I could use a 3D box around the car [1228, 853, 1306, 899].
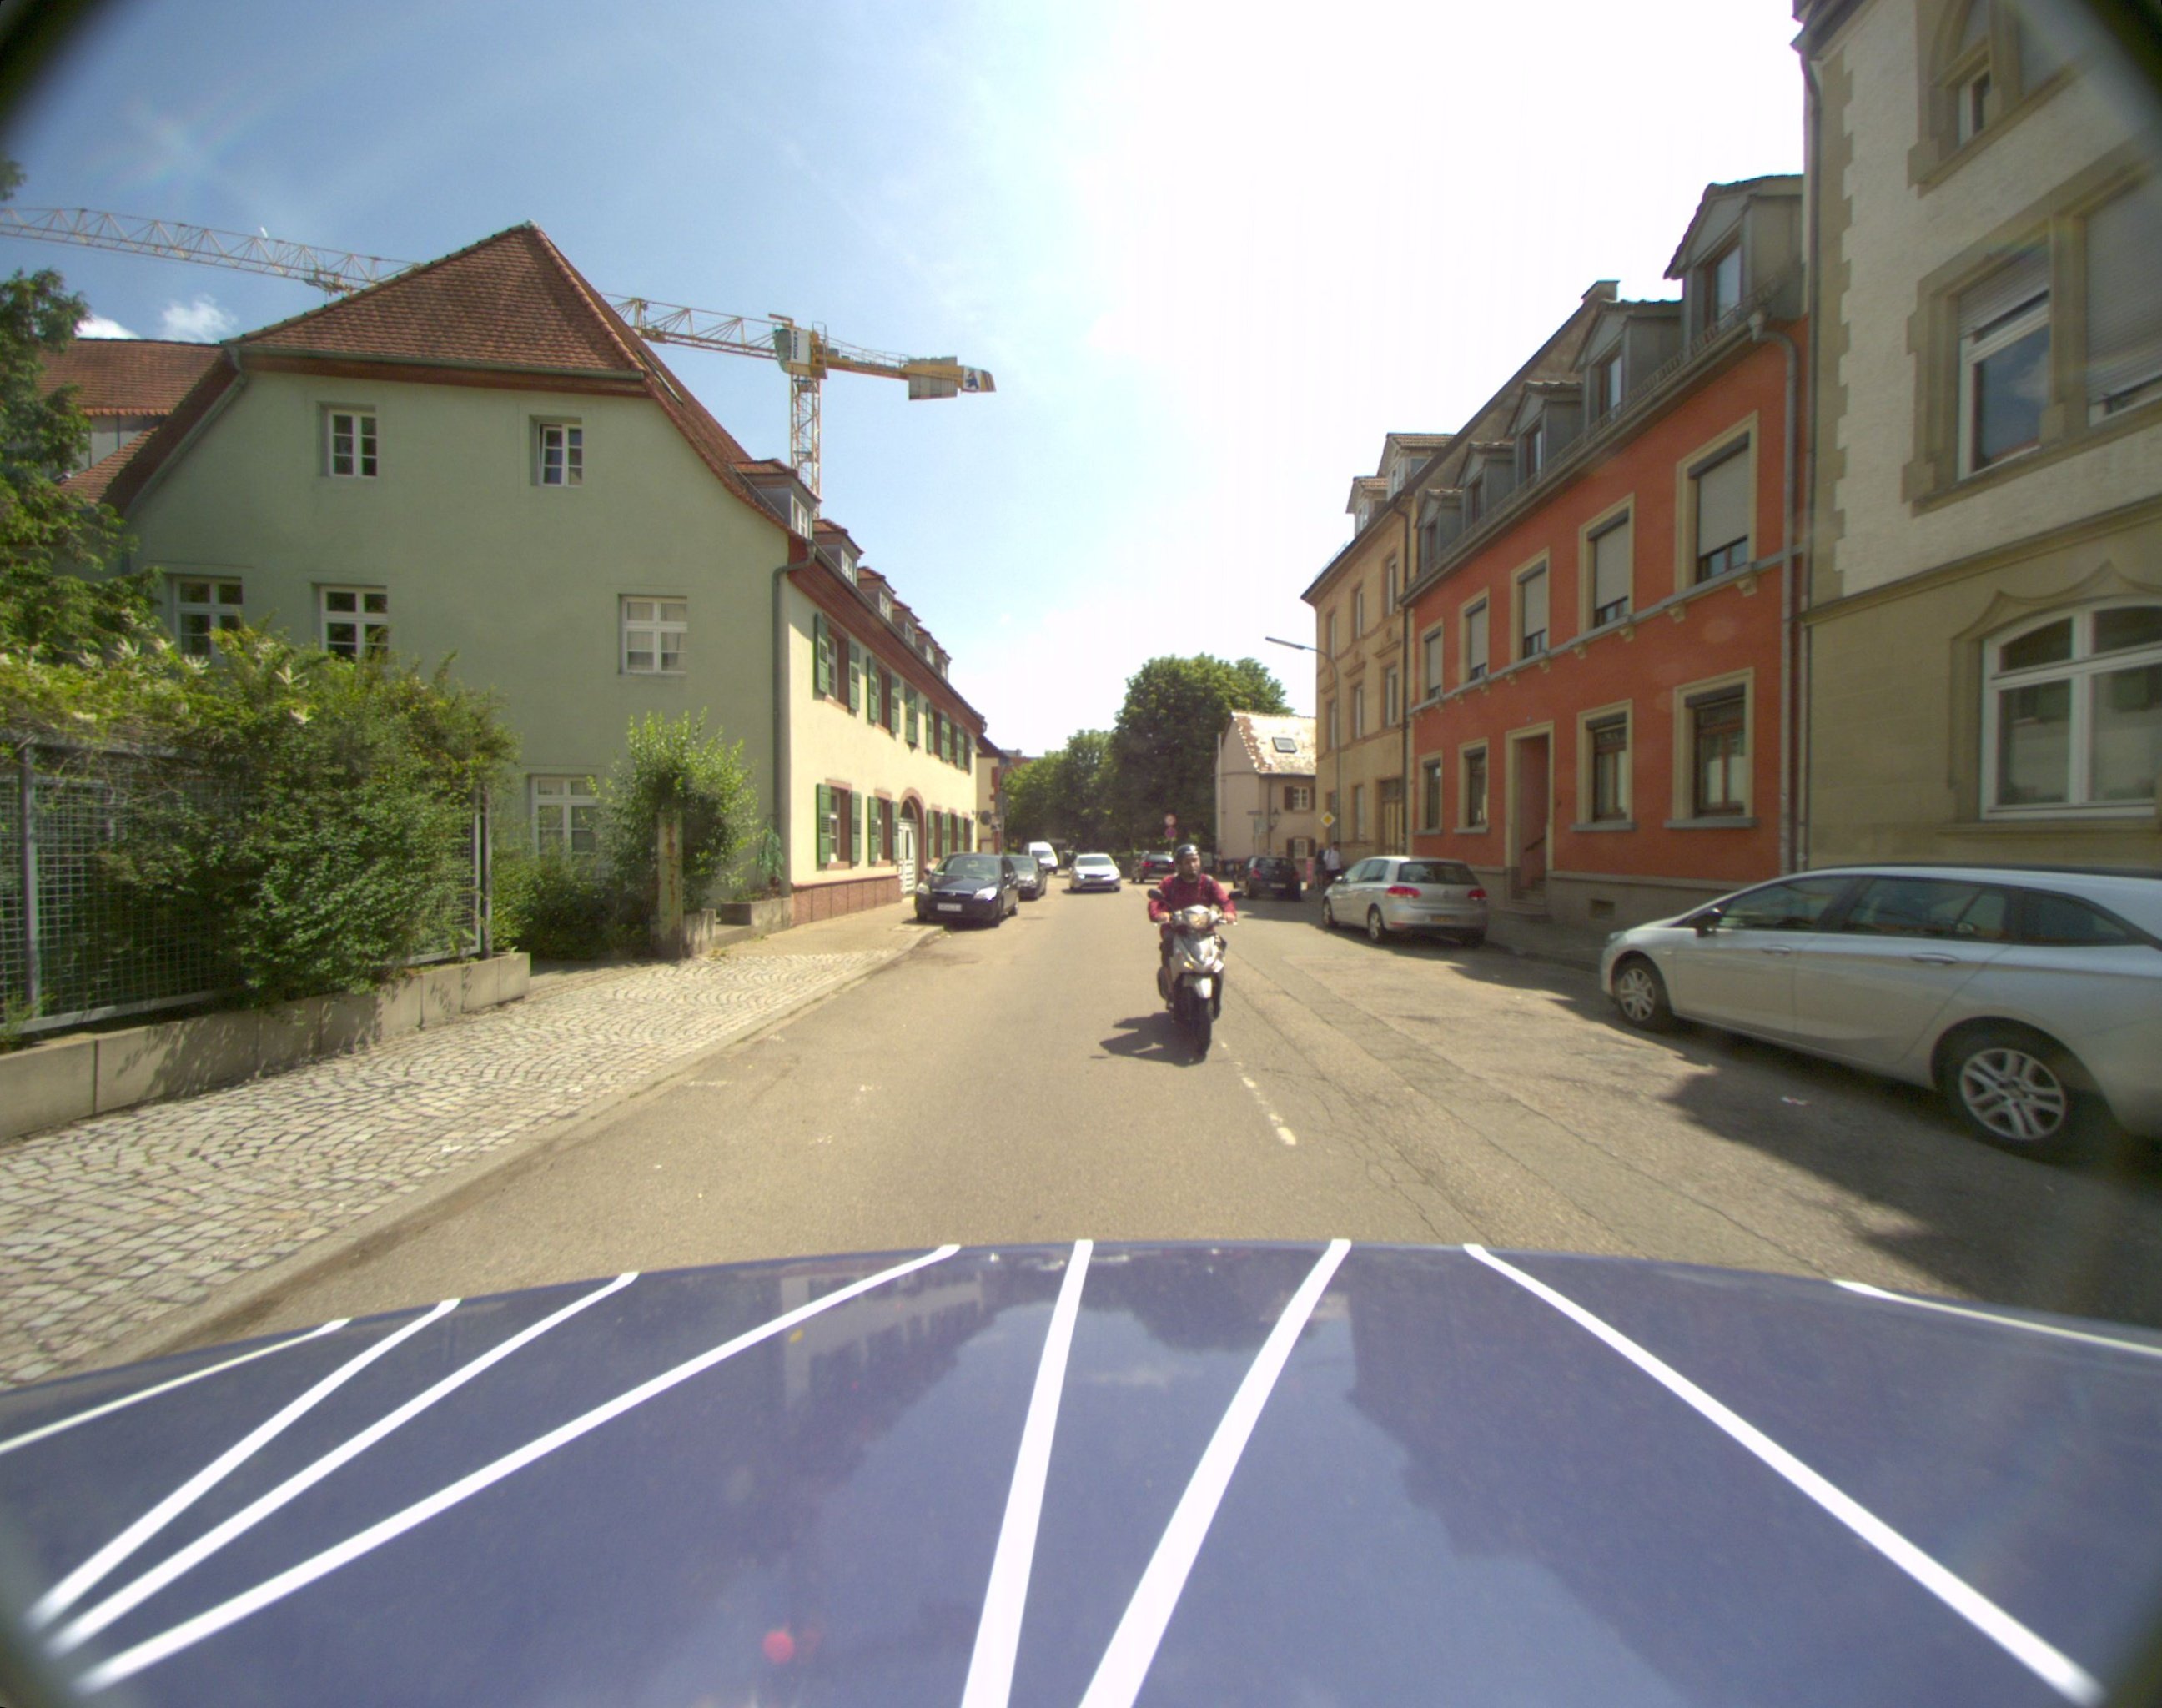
[{"bbox_3d":[6.231,0.698,25.916,1.732,1.434,3.856,0,1,0],"label":"car"}]

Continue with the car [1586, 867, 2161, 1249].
[{"bbox_3d":[5.510,0.894,4.713,1.882,1.502,4.381,0,1,1],"label":"car"}]

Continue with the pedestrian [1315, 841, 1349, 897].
[{"bbox_3d":[8.014,0.470,24.273,0.770,1.761,0.763,-2,1,0],"label":"pedestrian"}]

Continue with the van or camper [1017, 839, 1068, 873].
[{"bbox_3d":[-2.753,0.111,53.430,2.002,2.274,5.134,0,1,-22],"label":"van or camper"}]

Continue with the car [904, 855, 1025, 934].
[{"bbox_3d":[-2.431,0.799,16.923,1.851,1.506,4.001,0,1,4],"label":"car"}]

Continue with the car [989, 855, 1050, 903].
[{"bbox_3d":[-2.040,0.789,26.235,1.651,1.489,4.000,0,1,2],"label":"car"}]

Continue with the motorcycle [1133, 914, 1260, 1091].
[{"bbox_3d":[0.877,1.122,6.317,0.760,1.049,1.991,-1,1,1],"label":"motorcycle"}]

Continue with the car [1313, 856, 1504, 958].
[{"bbox_3d":[5.563,0.814,13.483,1.714,1.451,3.853,1,1,0],"label":"car"}]

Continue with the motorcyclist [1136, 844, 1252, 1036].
[{"bbox_3d":[0.888,0.644,6.229,0.793,1.432,1.020,-1,1,1],"label":"motorcyclist"}]

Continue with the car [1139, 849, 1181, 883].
[{"bbox_3d":[3.713,0.511,36.222,1.791,1.516,4.063,0,1,3],"label":"car"}]

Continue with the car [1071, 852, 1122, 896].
[{"bbox_3d":[0.570,0.702,29.099,1.812,1.512,3.999,-1,1,0],"label":"car"}]
